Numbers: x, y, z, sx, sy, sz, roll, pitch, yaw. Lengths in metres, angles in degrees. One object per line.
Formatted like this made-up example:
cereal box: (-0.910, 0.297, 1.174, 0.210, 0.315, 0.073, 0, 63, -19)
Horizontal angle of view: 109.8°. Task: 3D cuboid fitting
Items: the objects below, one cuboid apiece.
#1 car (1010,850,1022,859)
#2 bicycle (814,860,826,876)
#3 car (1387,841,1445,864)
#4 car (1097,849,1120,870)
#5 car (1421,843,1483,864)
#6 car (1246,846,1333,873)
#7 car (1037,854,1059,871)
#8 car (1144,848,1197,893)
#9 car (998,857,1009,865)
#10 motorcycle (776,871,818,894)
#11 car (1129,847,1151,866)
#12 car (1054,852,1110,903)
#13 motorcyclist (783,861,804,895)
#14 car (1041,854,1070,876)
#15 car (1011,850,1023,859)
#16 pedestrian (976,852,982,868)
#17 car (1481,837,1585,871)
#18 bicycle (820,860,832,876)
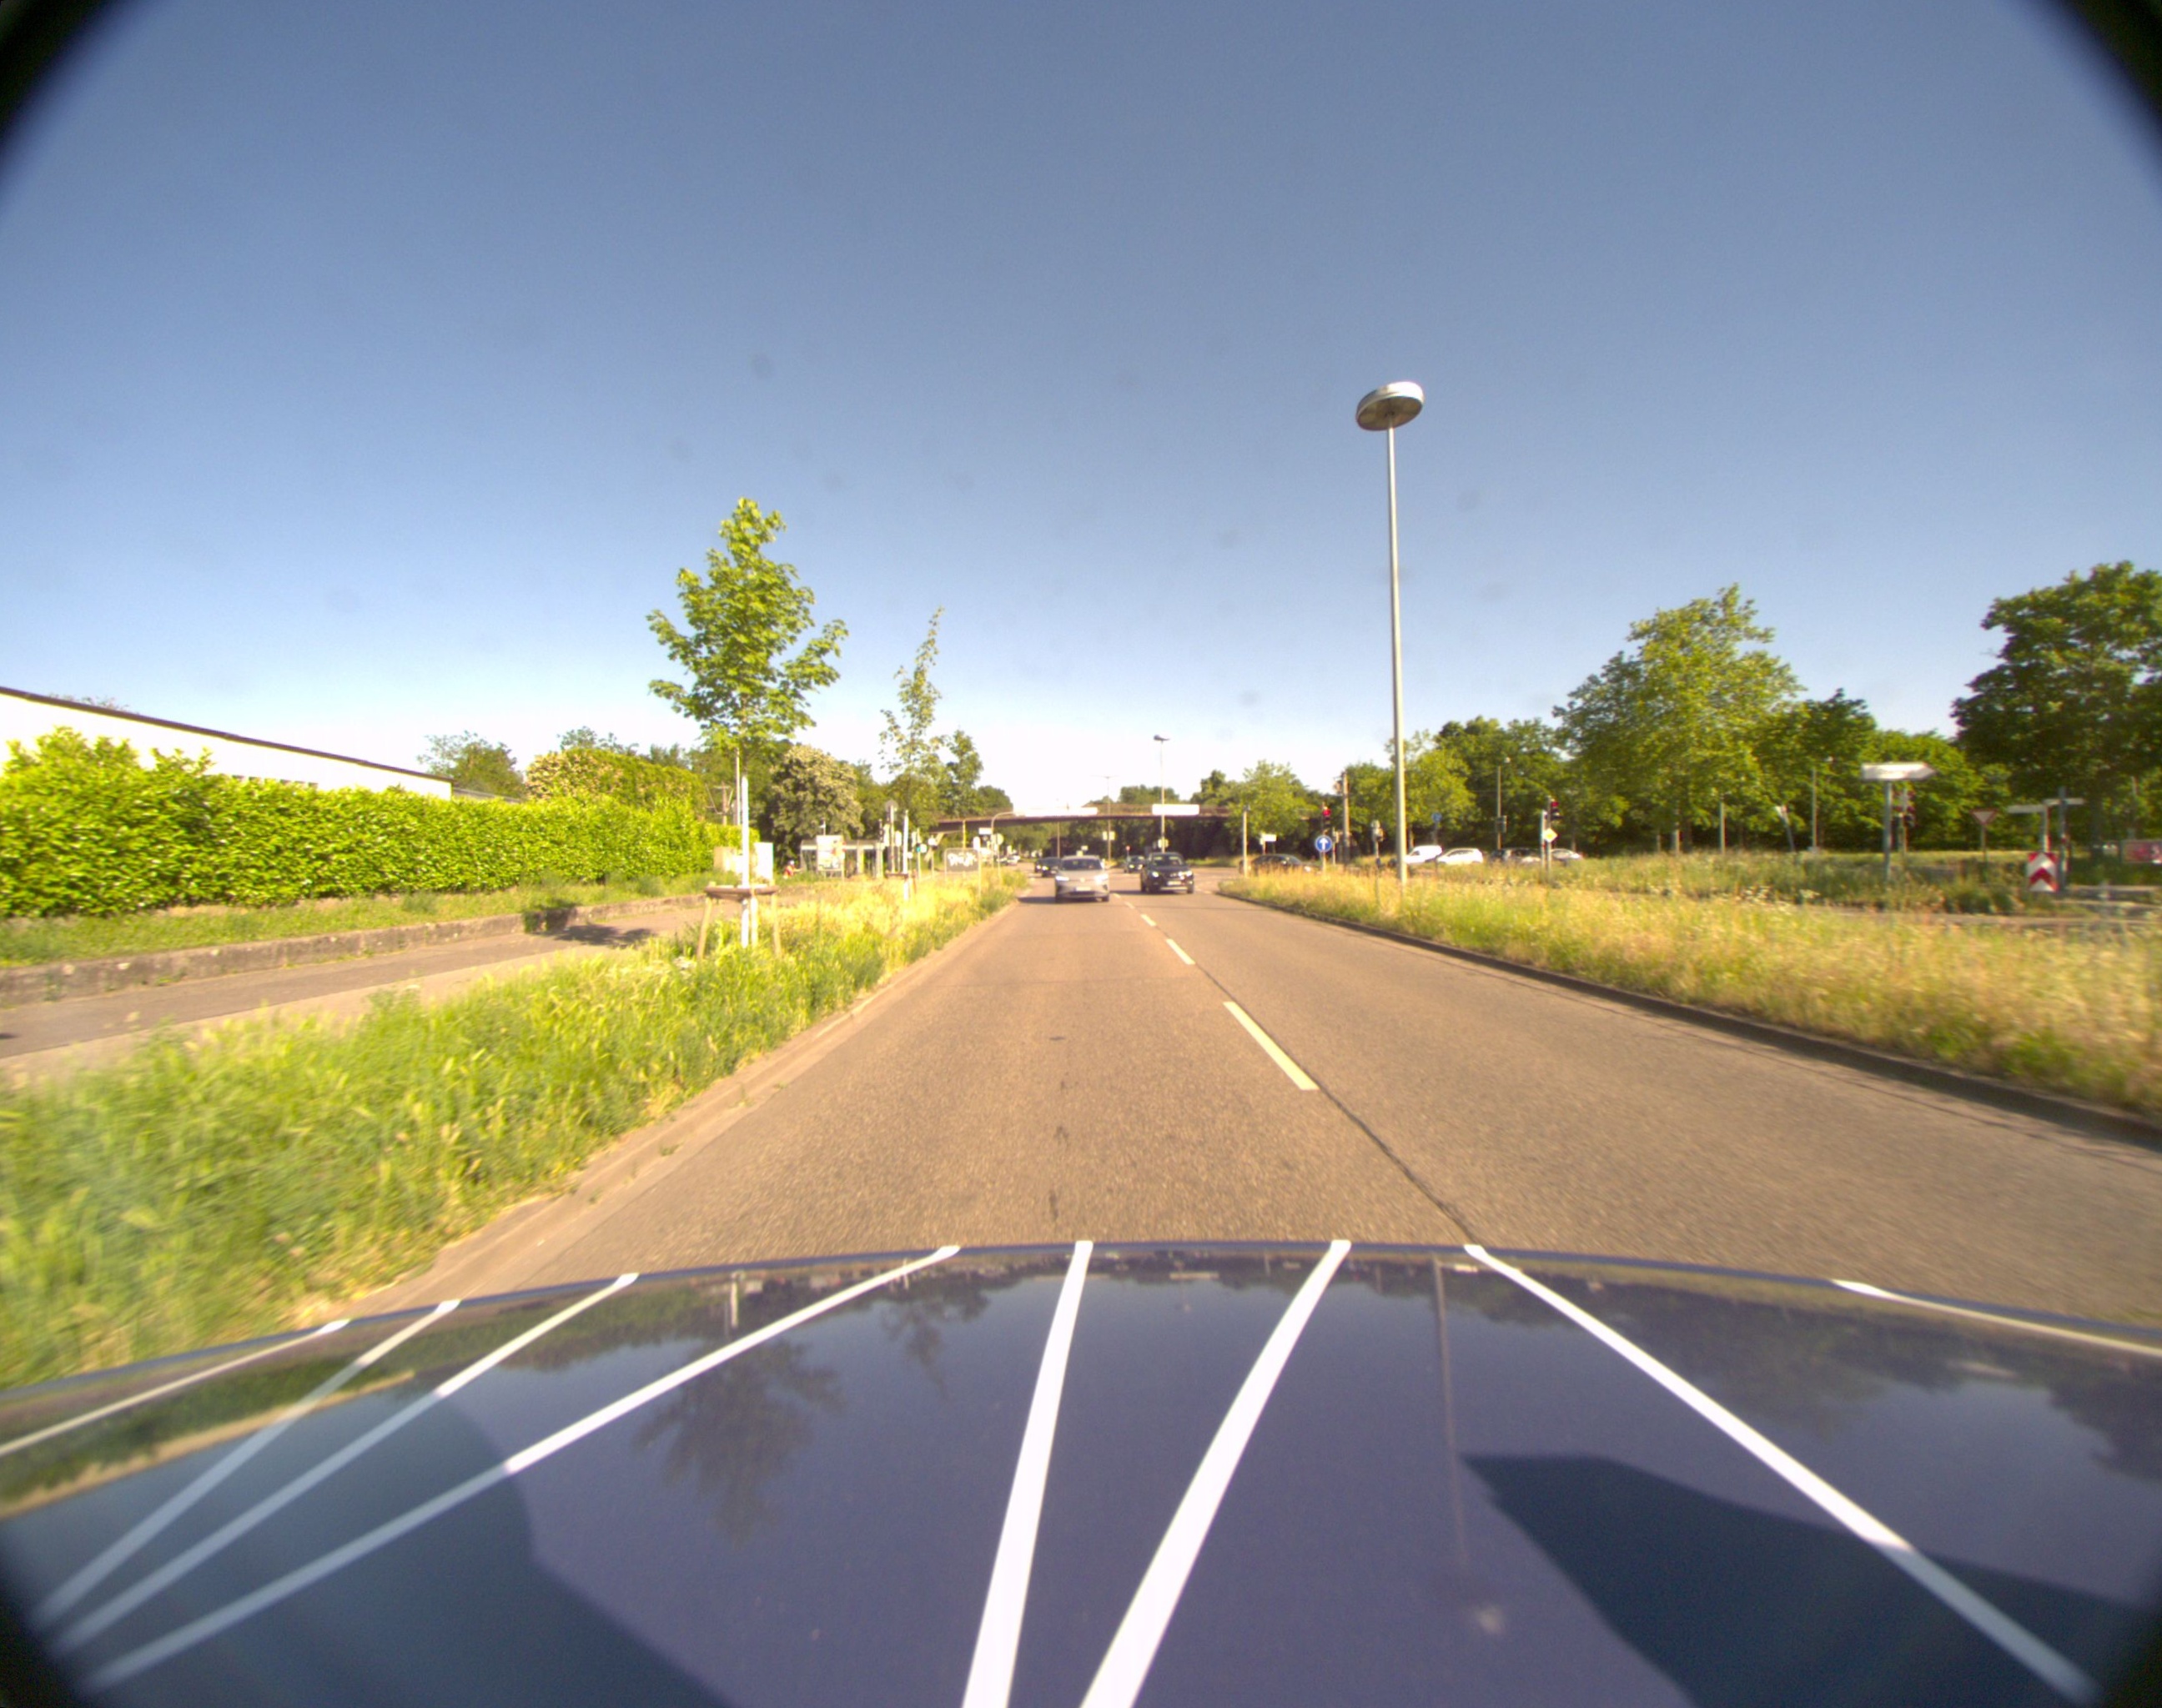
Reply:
car: (-11.671, 0.121, 136.046, 1.874, 1.611, 3.833, -2, 0, -8)
bicycle: (-20.157, 1.084, 58.655, 0.431, 1.062, 1.783, 1, 5, -4)
car: (27.376, -0.152, 62.189, 4.000, 1.744, 1.776, -1, 1, -8)
car: (2.323, 0.442, 64.620, 1.830, 1.604, 4.092, -1, 1, 1)
car: (28.643, -0.042, 58.774, 3.925, 1.551, 1.851, -2, 1, -8)
car: (12.021, 0.351, 43.996, 1.783, 1.478, 4.517, -1, 0, -44)
car: (-3.402, 0.850, 77.274, 1.874, 1.611, 3.833, -2, 0, -8)
car: (3.571, 0.621, 30.939, 1.713, 1.653, 3.856, -2, 1, 1)
car: (-15.629, 1.373, 152.465, 1.875, 1.611, 3.832, -2, 0, -10)
motorcycle: (-13.152, 1.330, 35.246, 1.760, 1.065, 0.451, 0, 1, 0)
car: (4.988, 0.174, 64.890, 1.795, 1.487, 4.002, -1, 0, 4)
car: (0.109, 0.800, 27.543, 1.801, 1.664, 4.240, -2, 0, 2)
motorcyclist: (-13.360, 1.106, 35.297, 0.695, 1.549, 0.700, 0, 1, 0)
car: (-2.005, 0.809, 59.103, 1.874, 1.611, 3.833, -2, 0, -8)
car: (-13.676, 0.099, 162.259, 2.000, 2.002, 3.996, -2, 0, -10)
pedestrian: (-10.690, 0.657, 79.895, 0.589, 1.652, 0.716, 0, 0, -9)
car: (24.194, 0.005, 40.762, 4.382, 1.561, 1.848, -2, 0, 4)
bicycle: (-19.649, 1.100, 58.673, 0.431, 1.062, 1.783, 1, 5, -4)
